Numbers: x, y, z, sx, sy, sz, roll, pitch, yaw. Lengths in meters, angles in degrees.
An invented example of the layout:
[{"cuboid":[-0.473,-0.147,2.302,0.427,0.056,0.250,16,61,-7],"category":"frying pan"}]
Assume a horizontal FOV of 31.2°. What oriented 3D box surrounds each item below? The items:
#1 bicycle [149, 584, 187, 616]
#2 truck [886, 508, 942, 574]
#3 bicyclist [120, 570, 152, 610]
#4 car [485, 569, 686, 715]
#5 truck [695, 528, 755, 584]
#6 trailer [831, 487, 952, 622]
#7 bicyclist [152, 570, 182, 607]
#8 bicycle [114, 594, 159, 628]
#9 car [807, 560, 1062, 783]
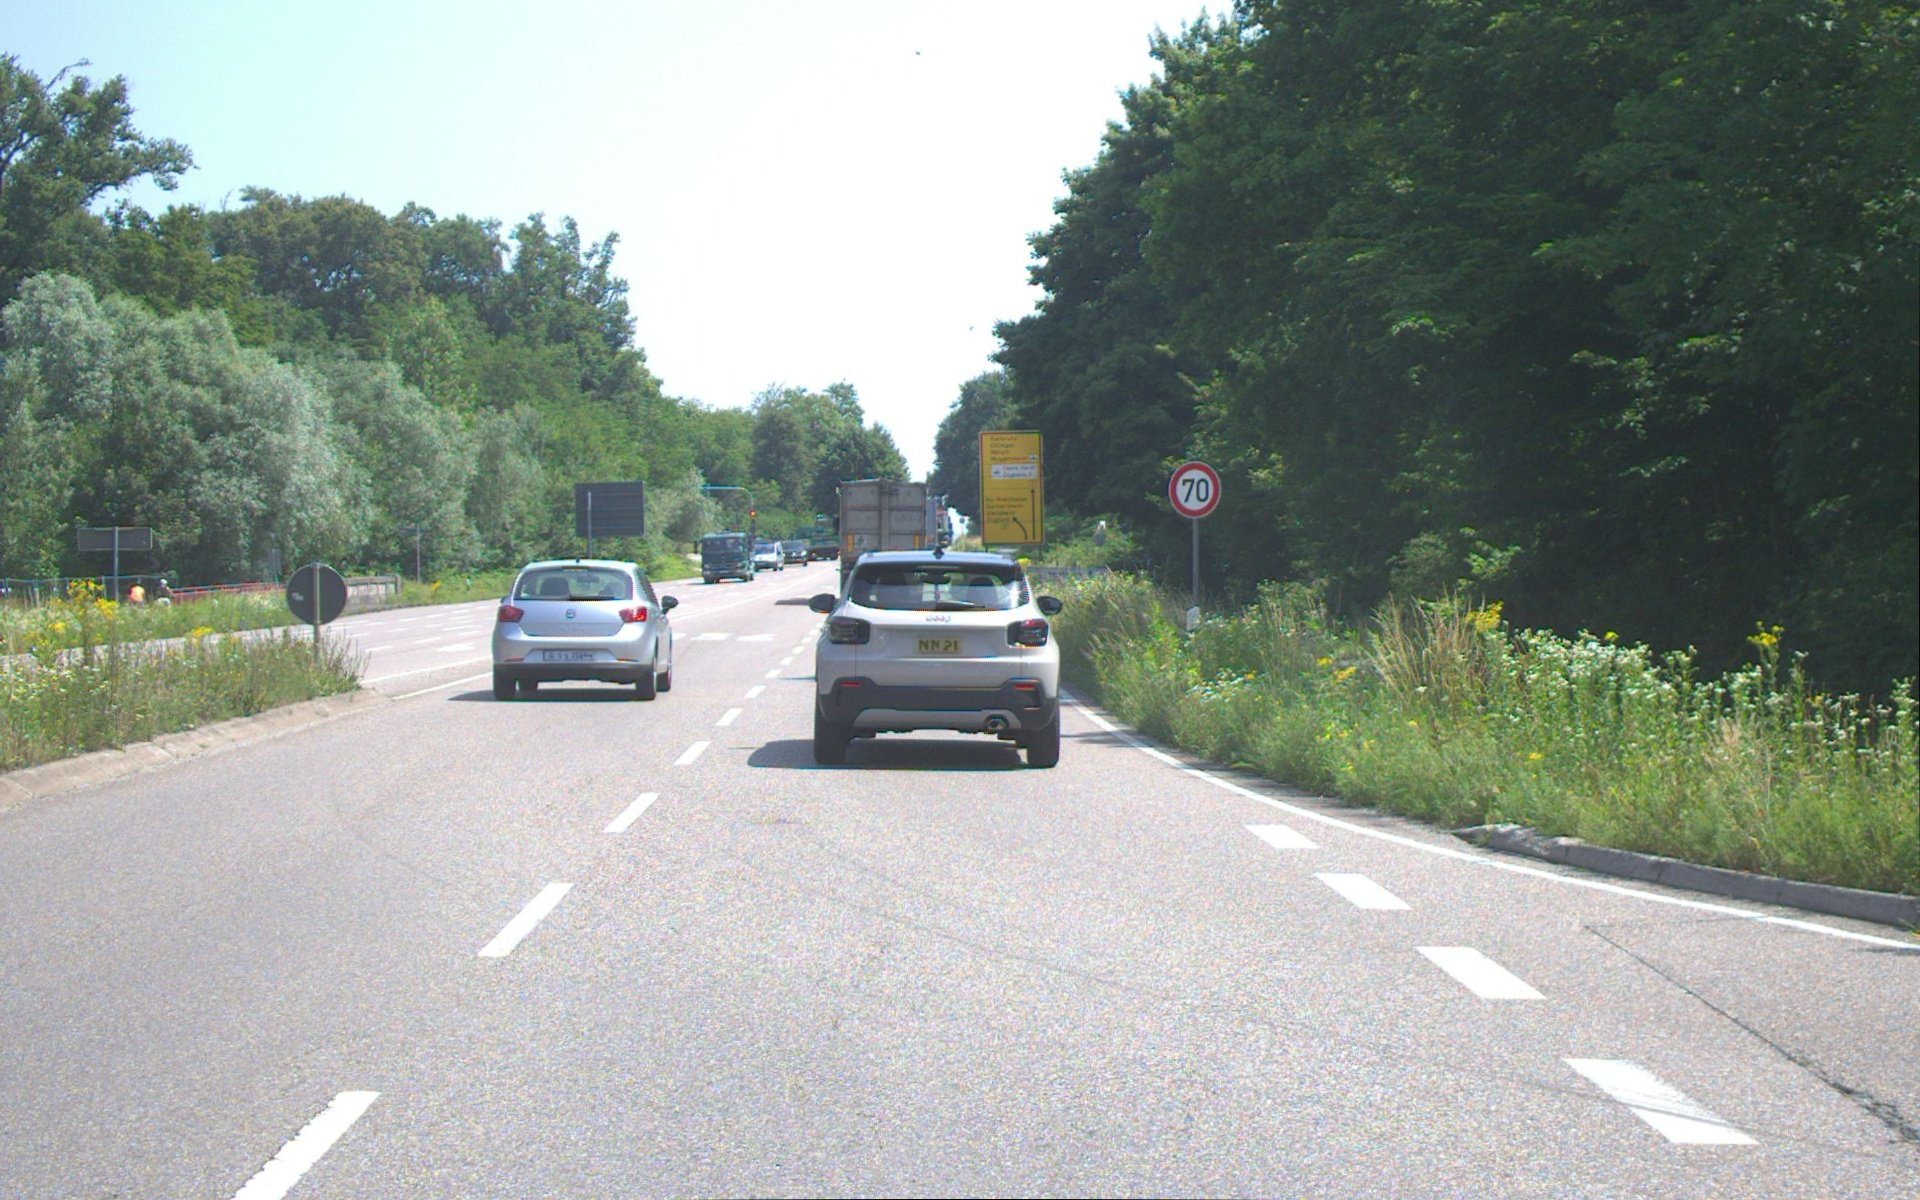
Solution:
[{"cuboid":[-25.680,-0.007,111.452,0.604,1.002,1.555,-2,0,11],"category":"bicycle"},{"cuboid":[-3.015,-3.771,223.645,3.497,4.173,10.784,0,0,-1],"category":"truck"},{"cuboid":[-25.781,-0.317,107.624,0.757,1.191,0.592,-2,1,10],"category":"bicyclist"},{"cuboid":[-3.877,0.401,36.093,1.666,1.425,3.828,0,1,0],"category":"car"},{"cuboid":[-11.914,-2.225,174.559,2.454,2.647,6.491,-3,1,0],"category":"truck"},{"cuboid":[-2.051,-1.392,107.229,3.383,3.975,10.804,0,0,1],"category":"trailer"},{"cuboid":[-25.688,-0.377,111.378,0.735,1.191,0.591,-2,0,11],"category":"bicyclist"},{"cuboid":[-25.756,0.345,107.578,0.676,1.002,1.800,-2,1,10],"category":"bicycle"},{"cuboid":[-0.163,0.473,25.896,1.767,1.529,4.000,0,1,0],"category":"car"}]
